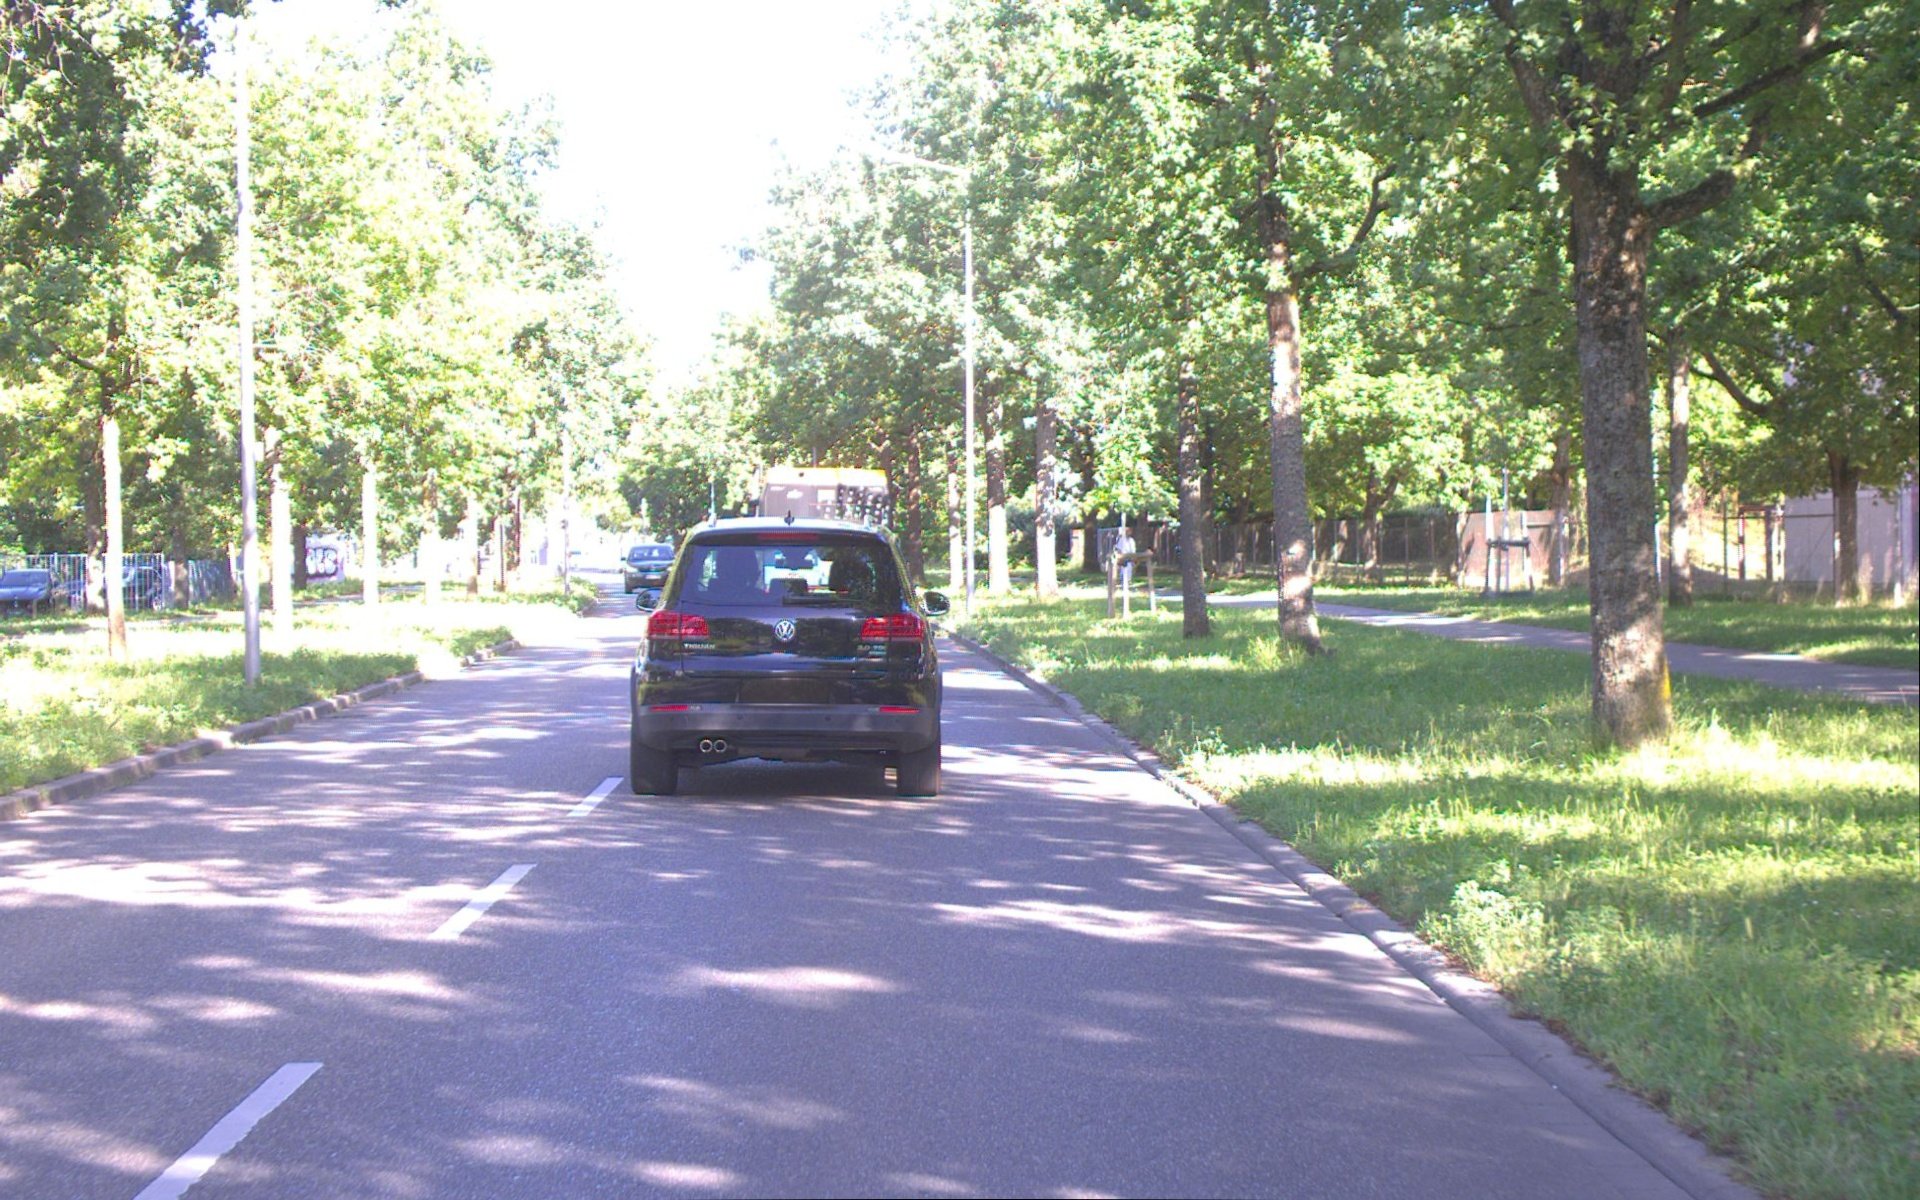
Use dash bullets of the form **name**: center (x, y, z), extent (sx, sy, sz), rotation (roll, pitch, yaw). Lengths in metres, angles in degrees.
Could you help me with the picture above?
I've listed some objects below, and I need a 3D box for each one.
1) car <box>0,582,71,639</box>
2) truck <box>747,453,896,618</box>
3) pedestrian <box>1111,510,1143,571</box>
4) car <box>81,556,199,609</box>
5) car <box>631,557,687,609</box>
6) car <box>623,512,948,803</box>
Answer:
- **car**: center (-27.908, 0.283, 102.341), extent (1.993, 1.592, 5.016), rotation (1, 1, -6)
- **truck**: center (-3.006, -1.337, 72.281), extent (2.511, 3.232, 8.154), rotation (-1, 1, -6)
- **pedestrian**: center (4.538, -1.608, 93.491), extent (0.608, 1.625, 0.719), rotation (-3, 1, -14)
- **car**: center (-28.976, -0.607, 121.595), extent (3.986, 1.795, 2.001), rotation (1, 0, -12)
- **car**: center (-10.140, -0.579, 115.875), extent (1.767, 1.666, 4.200), rotation (-2, 1, -4)
- **car**: center (-1.183, 0.308, 21.558), extent (1.782, 1.628, 4.001), rotation (1, 1, -6)
